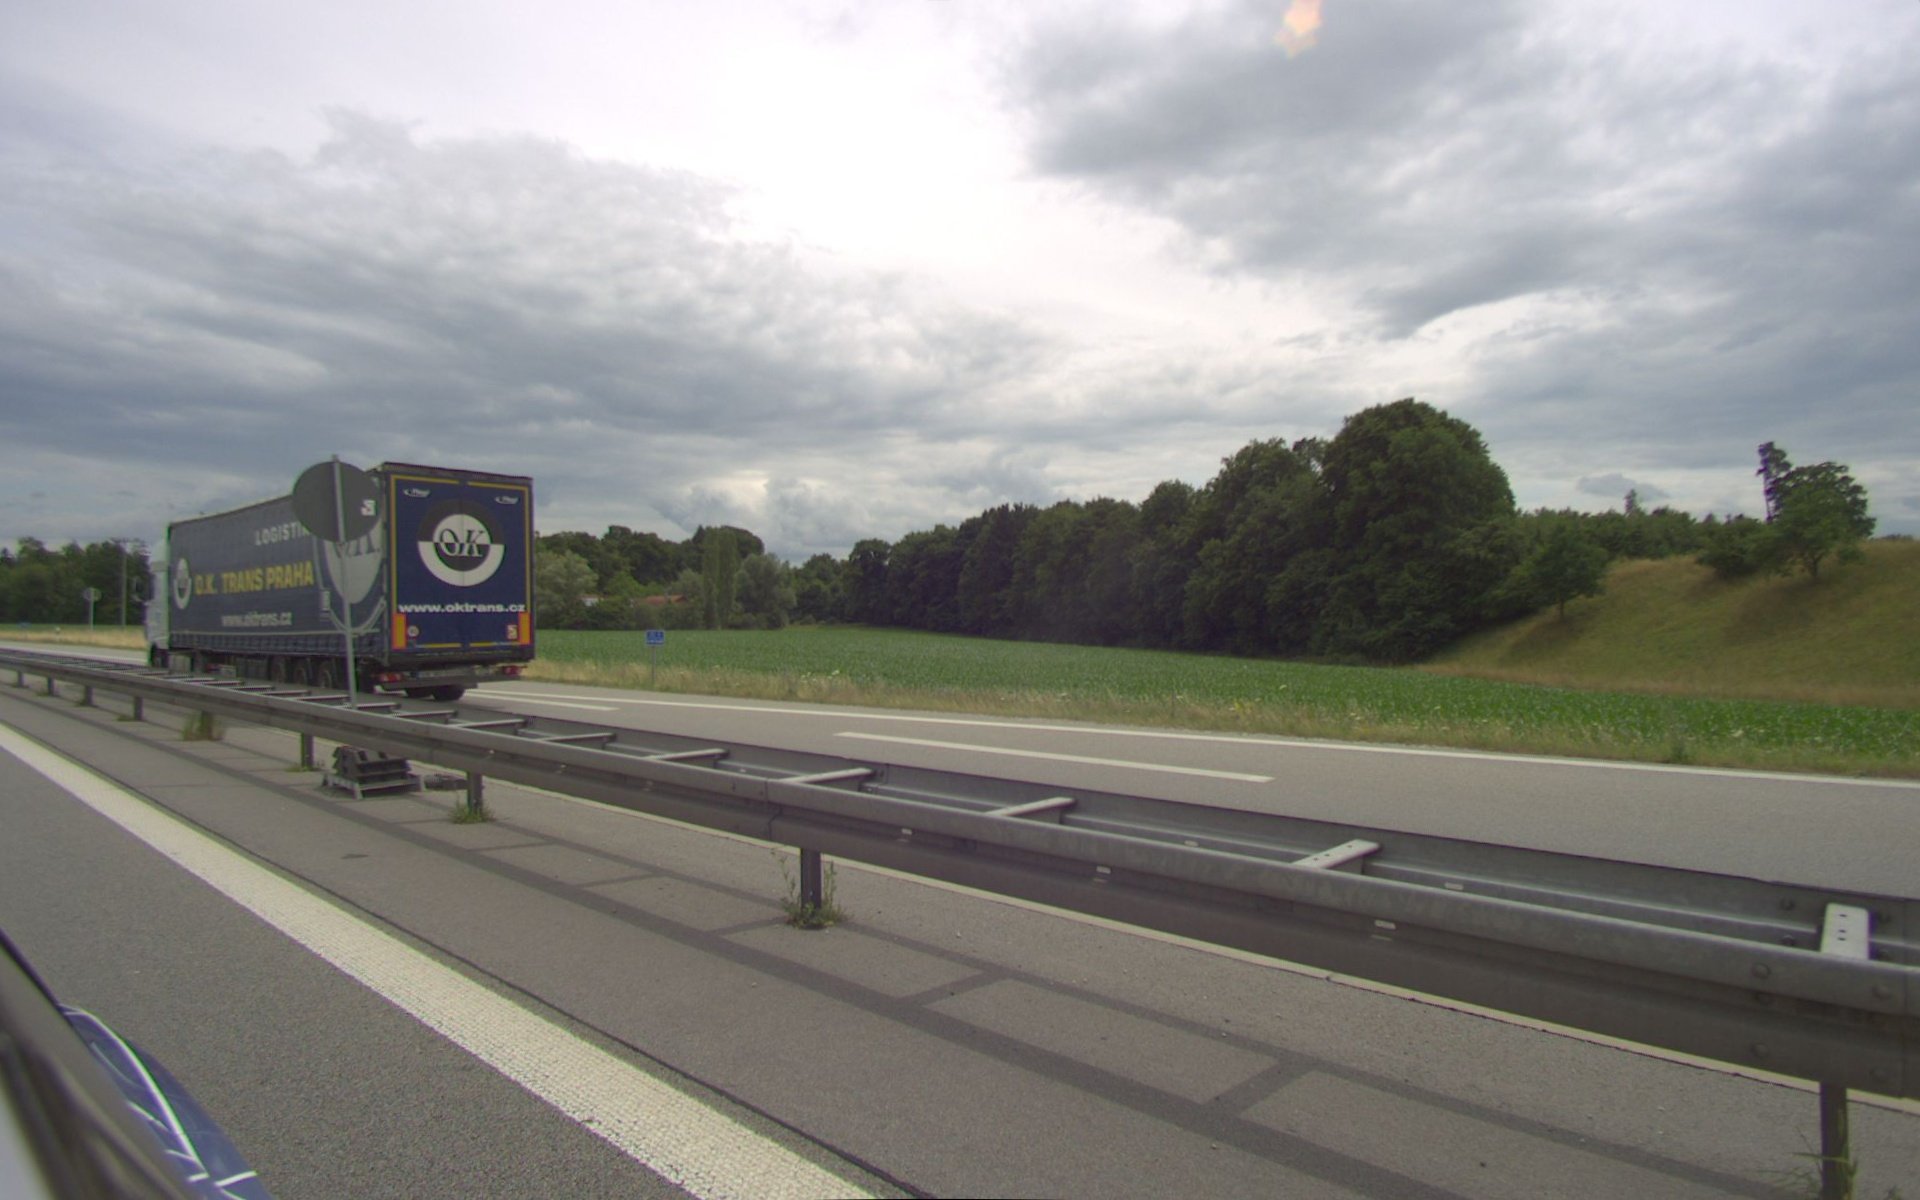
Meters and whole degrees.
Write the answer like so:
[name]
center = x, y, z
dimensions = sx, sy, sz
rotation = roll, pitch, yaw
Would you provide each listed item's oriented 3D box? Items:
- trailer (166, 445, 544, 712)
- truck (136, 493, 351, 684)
[trailer]
center = -13.435, -0.310, 21.410
dimensions = 13.556, 4.204, 2.770
rotation = -1, 0, 41
[truck]
center = -18.261, -0.250, 25.606
dimensions = 7.225, 4.173, 2.770
rotation = -1, 0, 41
